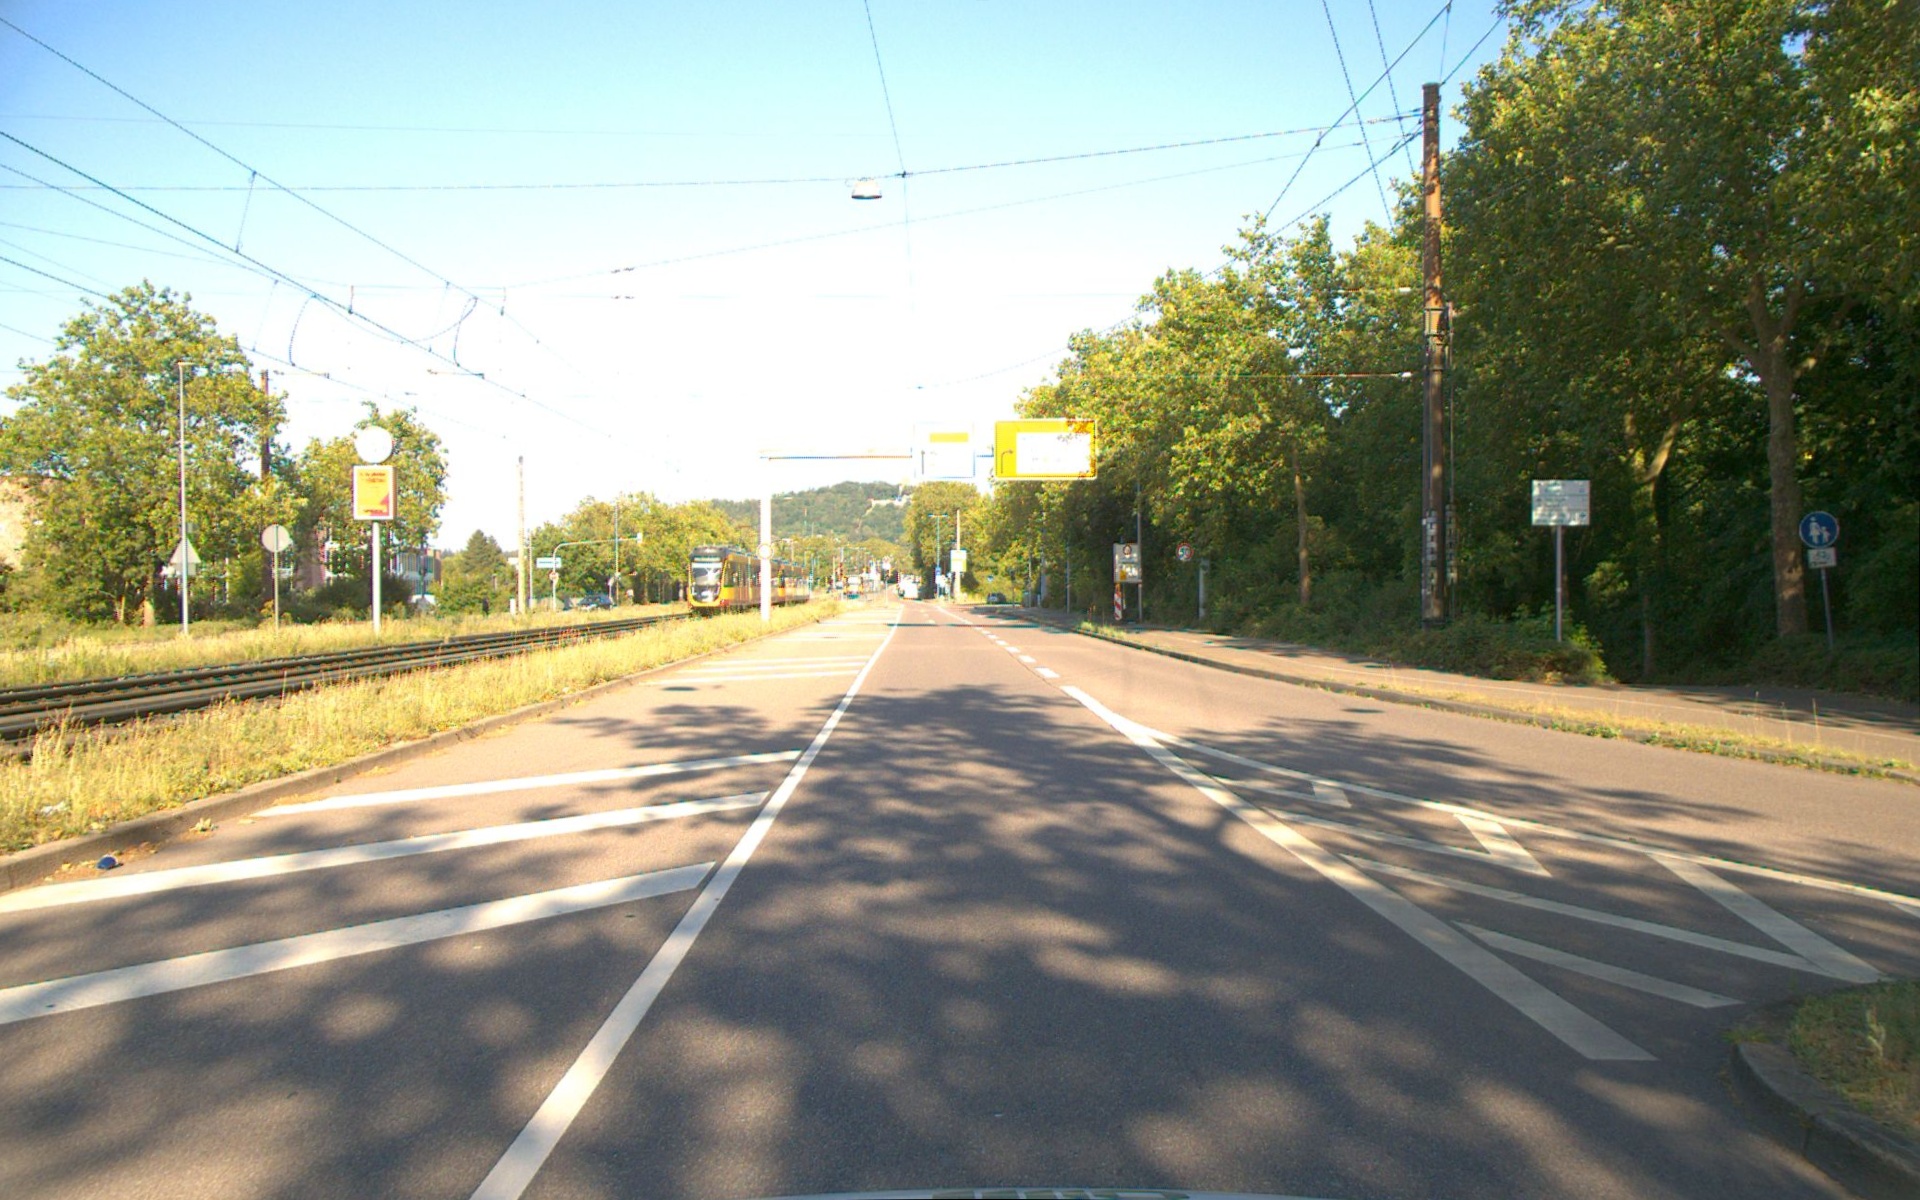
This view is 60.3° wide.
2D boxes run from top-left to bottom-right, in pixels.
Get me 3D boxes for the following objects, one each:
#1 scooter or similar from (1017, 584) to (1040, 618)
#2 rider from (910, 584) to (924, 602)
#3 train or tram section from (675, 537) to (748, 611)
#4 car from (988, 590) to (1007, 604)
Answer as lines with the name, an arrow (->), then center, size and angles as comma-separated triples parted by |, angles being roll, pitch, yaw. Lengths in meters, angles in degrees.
scooter or similar -> 5.729, 0.041, 138.430 | 1.647, 2.763, 4.867 | 0, 0, -1
rider -> -6.585, -1.124, 252.544 | 2.064, 2.693, 0.737 | 0, 0, 3
train or tram section -> -14.164, -1.427, 95.221 | 2.748, 3.971, 12.327 | 1, 0, -2
car -> 4.382, -0.359, 193.905 | 2.042, 1.593, 3.957 | 1, 0, 4
